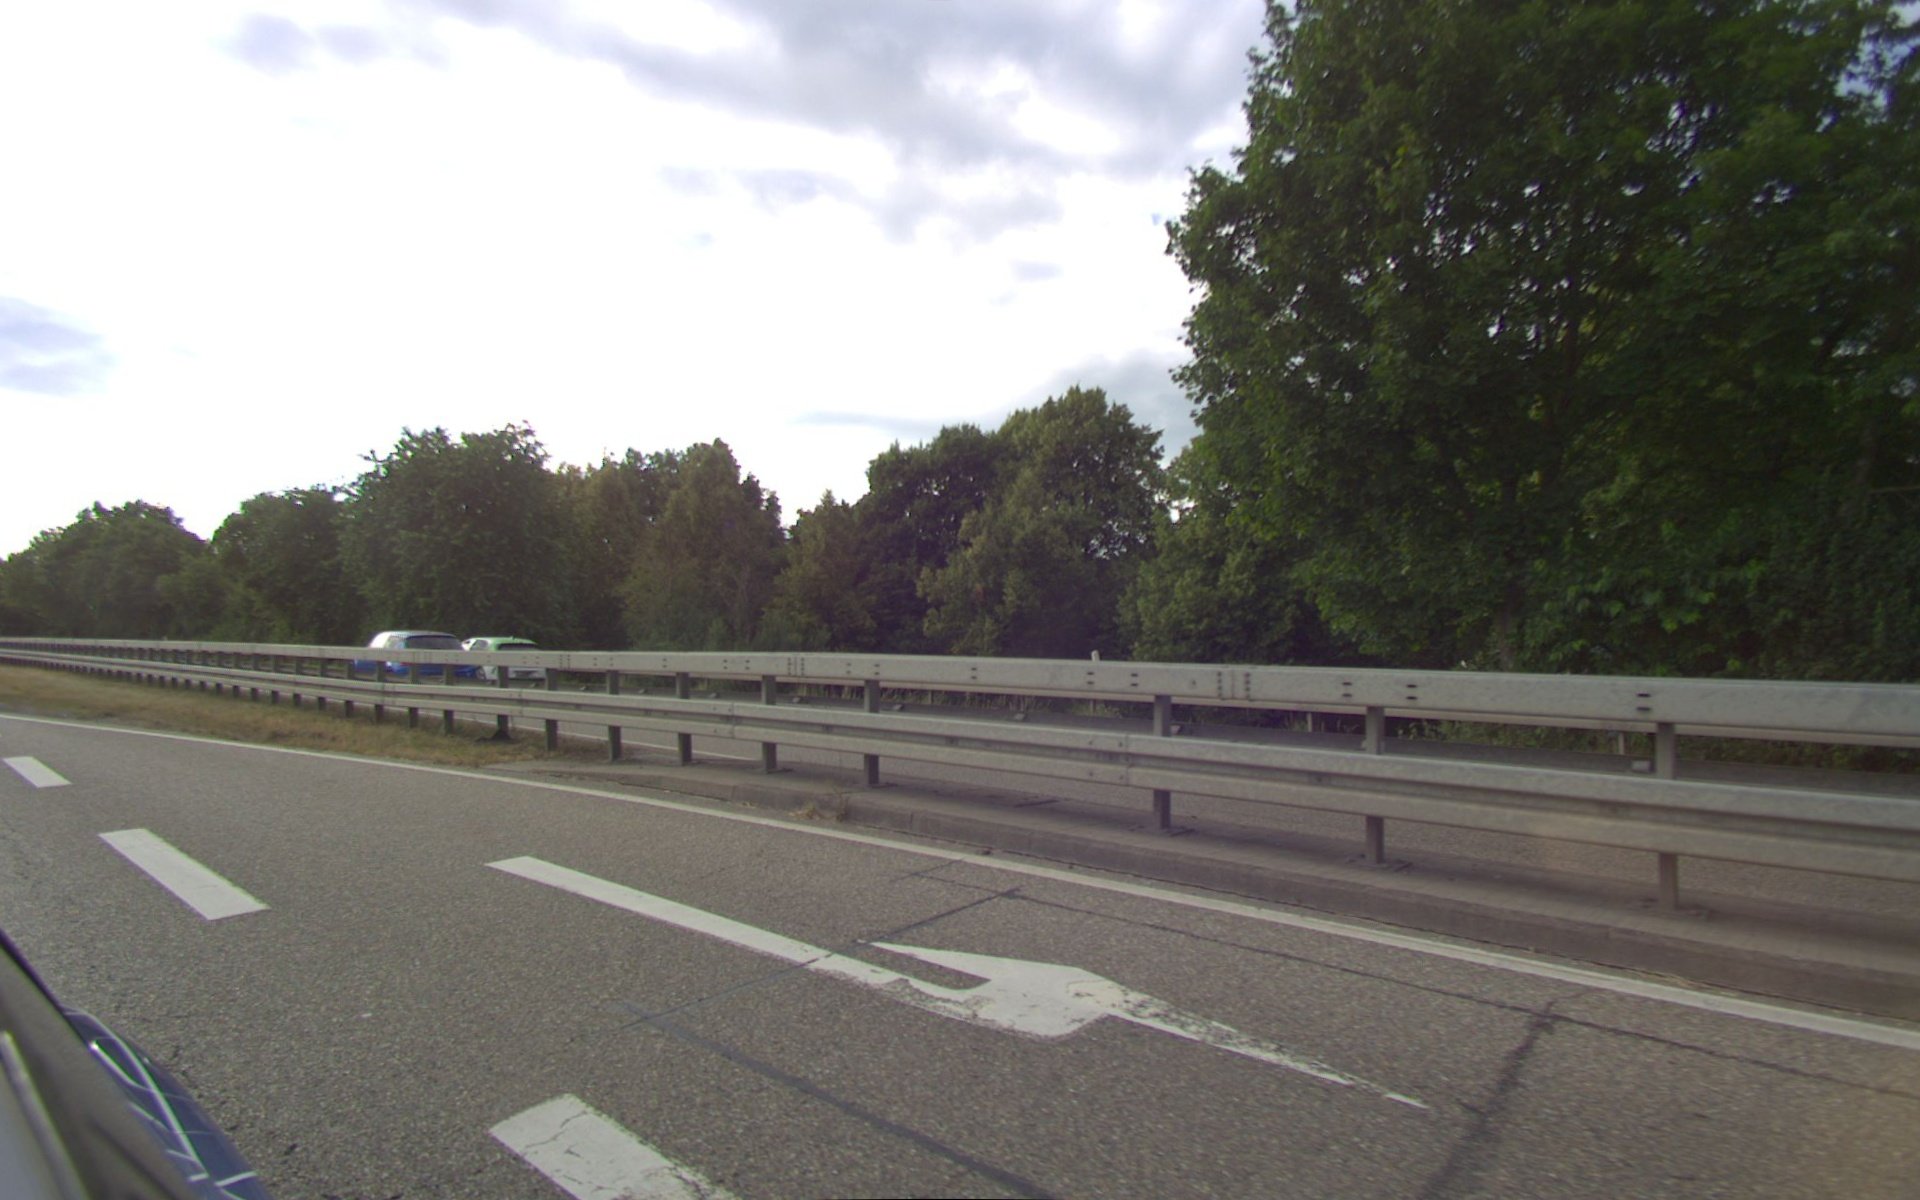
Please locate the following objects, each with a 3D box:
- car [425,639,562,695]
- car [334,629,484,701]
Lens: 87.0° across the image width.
[{"bbox_3d":[-12.948,1.811,27.980,4.456,1.424,1.740,-2,-3,41],"label":"car"},{"bbox_3d":[-12.336,1.410,22.600,3.710,1.479,1.750,-2,-3,41],"label":"car"}]
